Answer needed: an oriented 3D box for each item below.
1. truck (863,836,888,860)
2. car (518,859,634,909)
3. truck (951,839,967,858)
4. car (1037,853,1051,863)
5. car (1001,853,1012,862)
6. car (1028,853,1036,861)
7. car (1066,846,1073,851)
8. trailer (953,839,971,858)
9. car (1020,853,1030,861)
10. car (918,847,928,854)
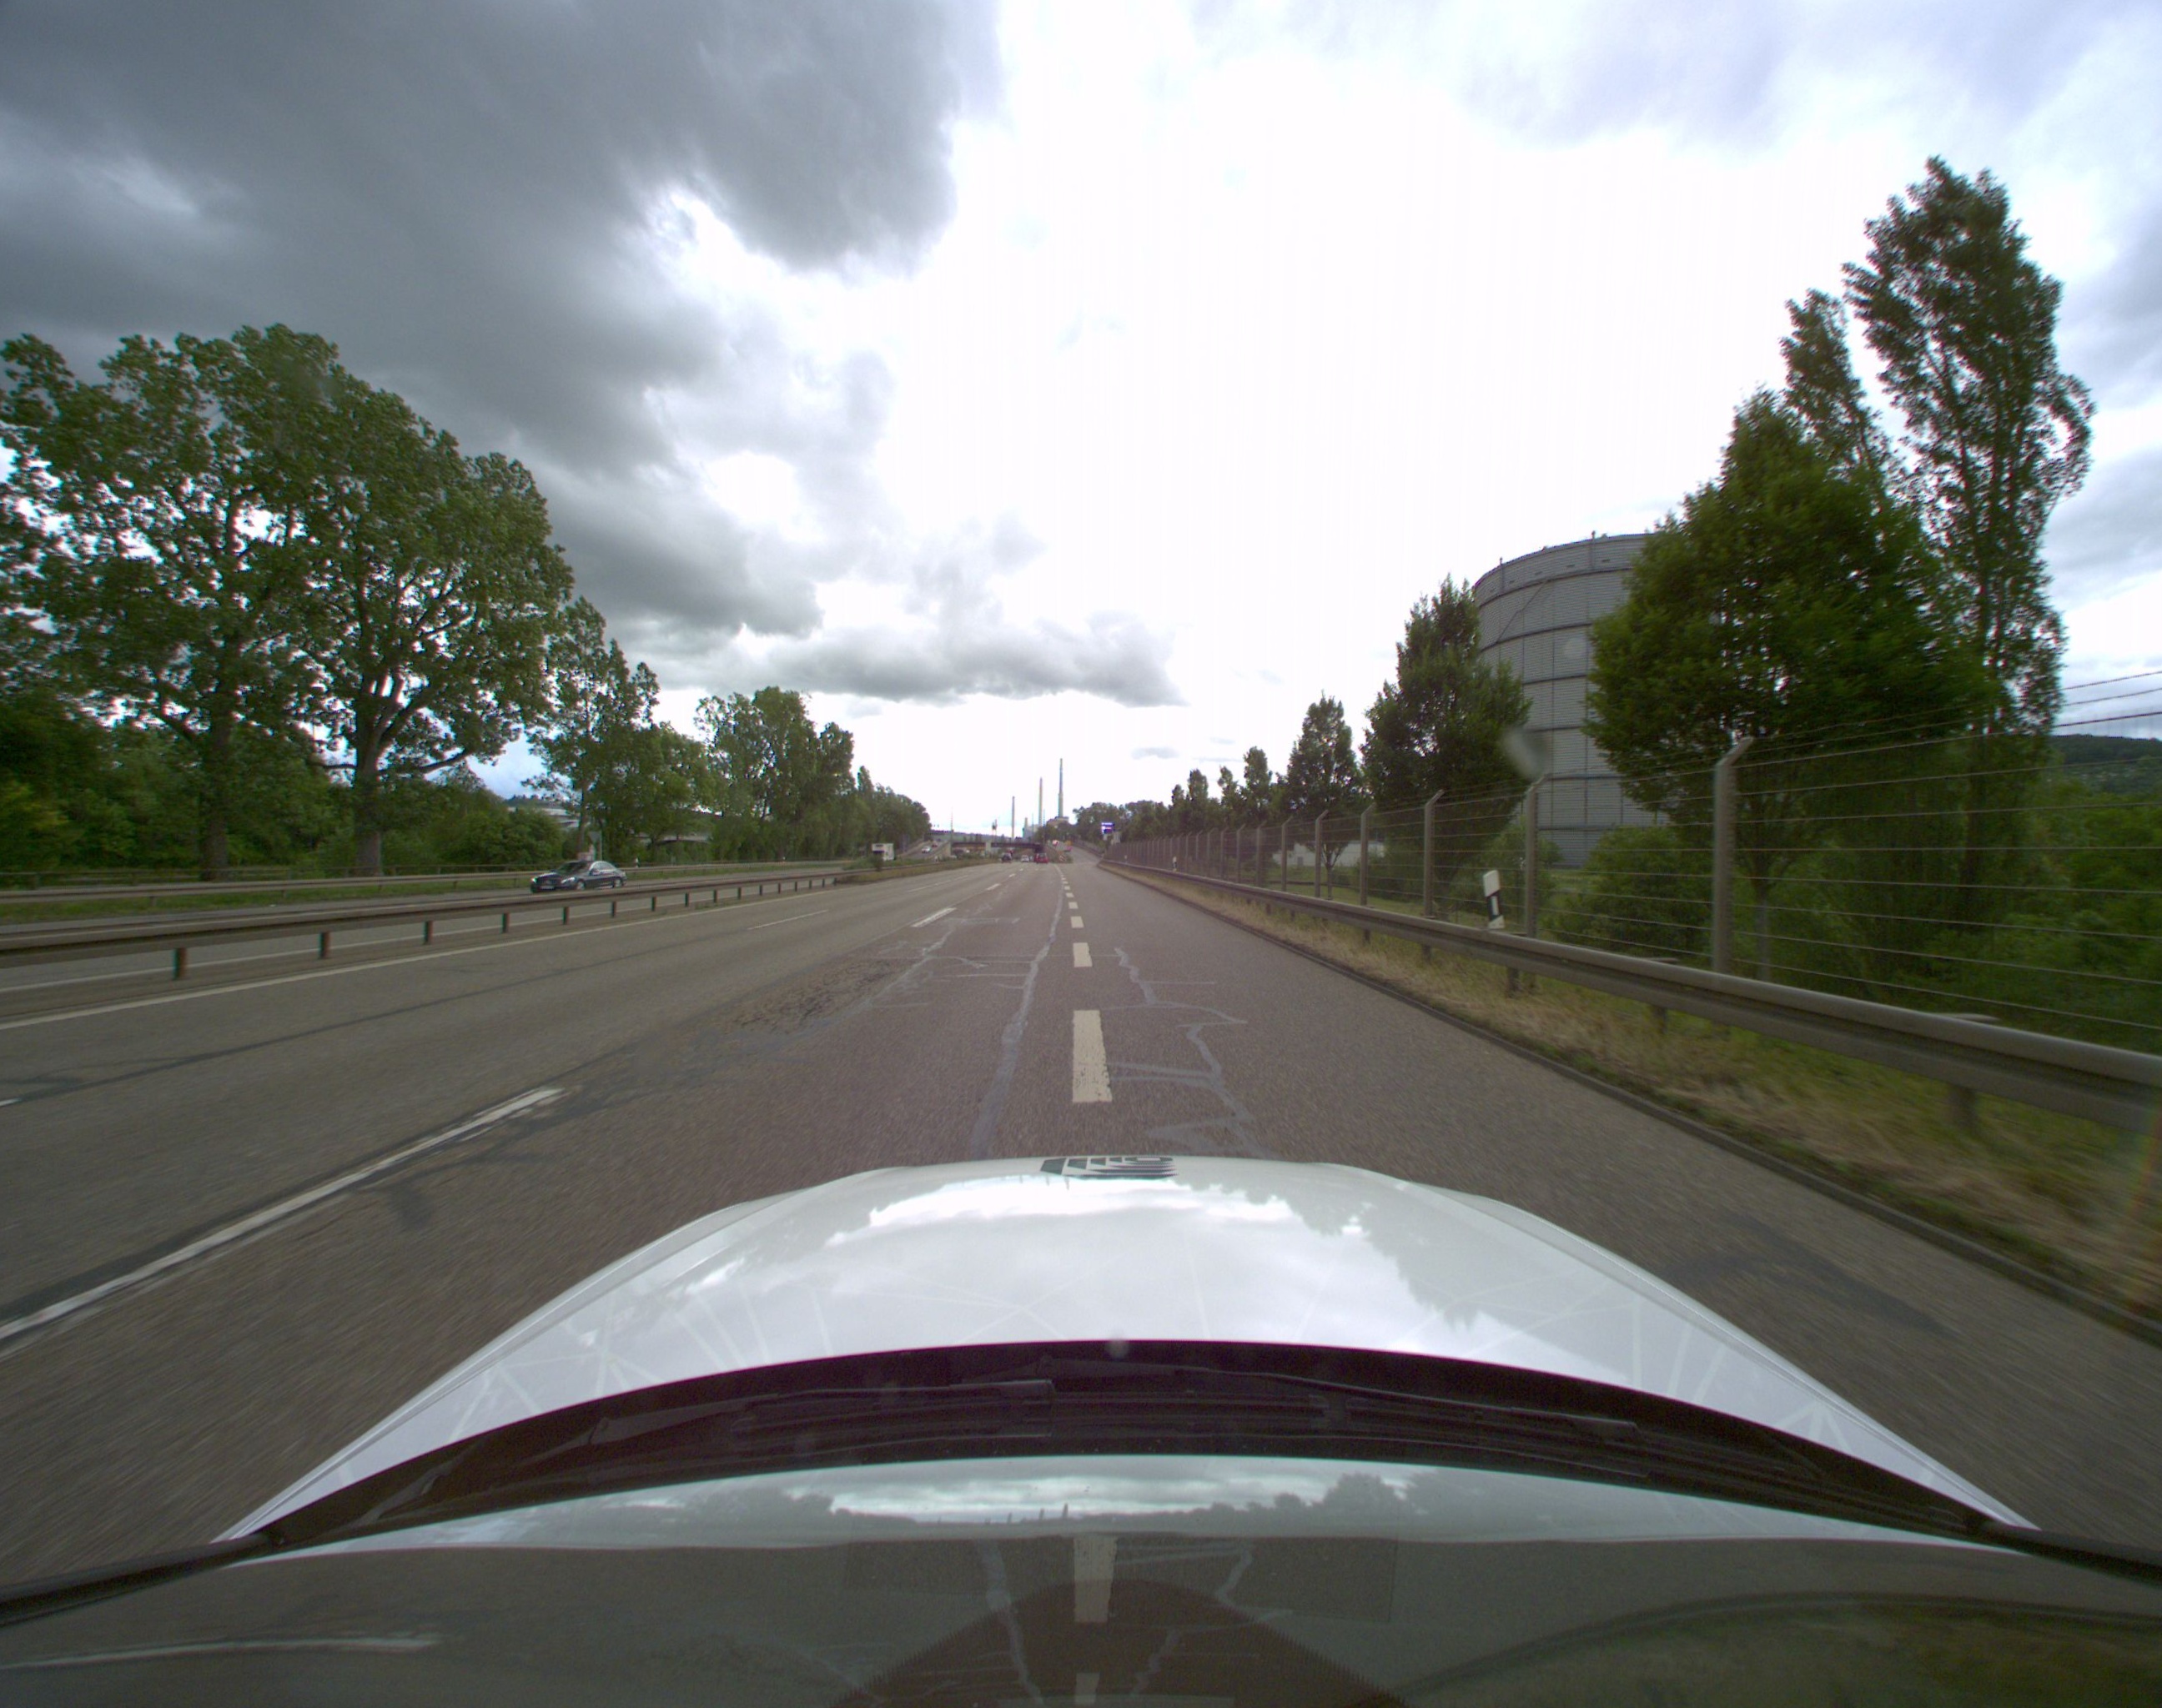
[{"bbox_3d":[-33.353,-0.968,132.550,2.979,3.643,6.324,2,0,-6],"label":"truck"},{"bbox_3d":[-21.229,1.182,34.526,1.990,1.608,4.644,-9,1,-3],"label":"car"},{"bbox_3d":[-31.664,-1.436,212.107,3.456,4.673,6.203,1,0,-3],"label":"truck"},{"bbox_3d":[-5.325,0.556,118.360,1.988,1.420,3.997,1,0,-2],"label":"car"},{"bbox_3d":[-14.298,0.717,156.123,1.989,1.684,3.996,1,0,-3],"label":"car"},{"bbox_3d":[-12.643,0.817,209.237,1.916,2.013,3.990,1,0,-7],"label":"car"},{"bbox_3d":[-3.208,-1.563,228.480,1.744,1.580,4.085,0,0,0],"label":"car"},{"bbox_3d":[-32.104,-1.400,219.816,3.456,4.673,14.763,1,0,-3],"label":"trailer"},{"bbox_3d":[-11.800,0.646,171.452,1.989,1.684,3.996,1,0,-3],"label":"car"},{"bbox_3d":[-39.761,-0.954,205.195,1.991,1.644,4.595,2,0,-5],"label":"car"}]
